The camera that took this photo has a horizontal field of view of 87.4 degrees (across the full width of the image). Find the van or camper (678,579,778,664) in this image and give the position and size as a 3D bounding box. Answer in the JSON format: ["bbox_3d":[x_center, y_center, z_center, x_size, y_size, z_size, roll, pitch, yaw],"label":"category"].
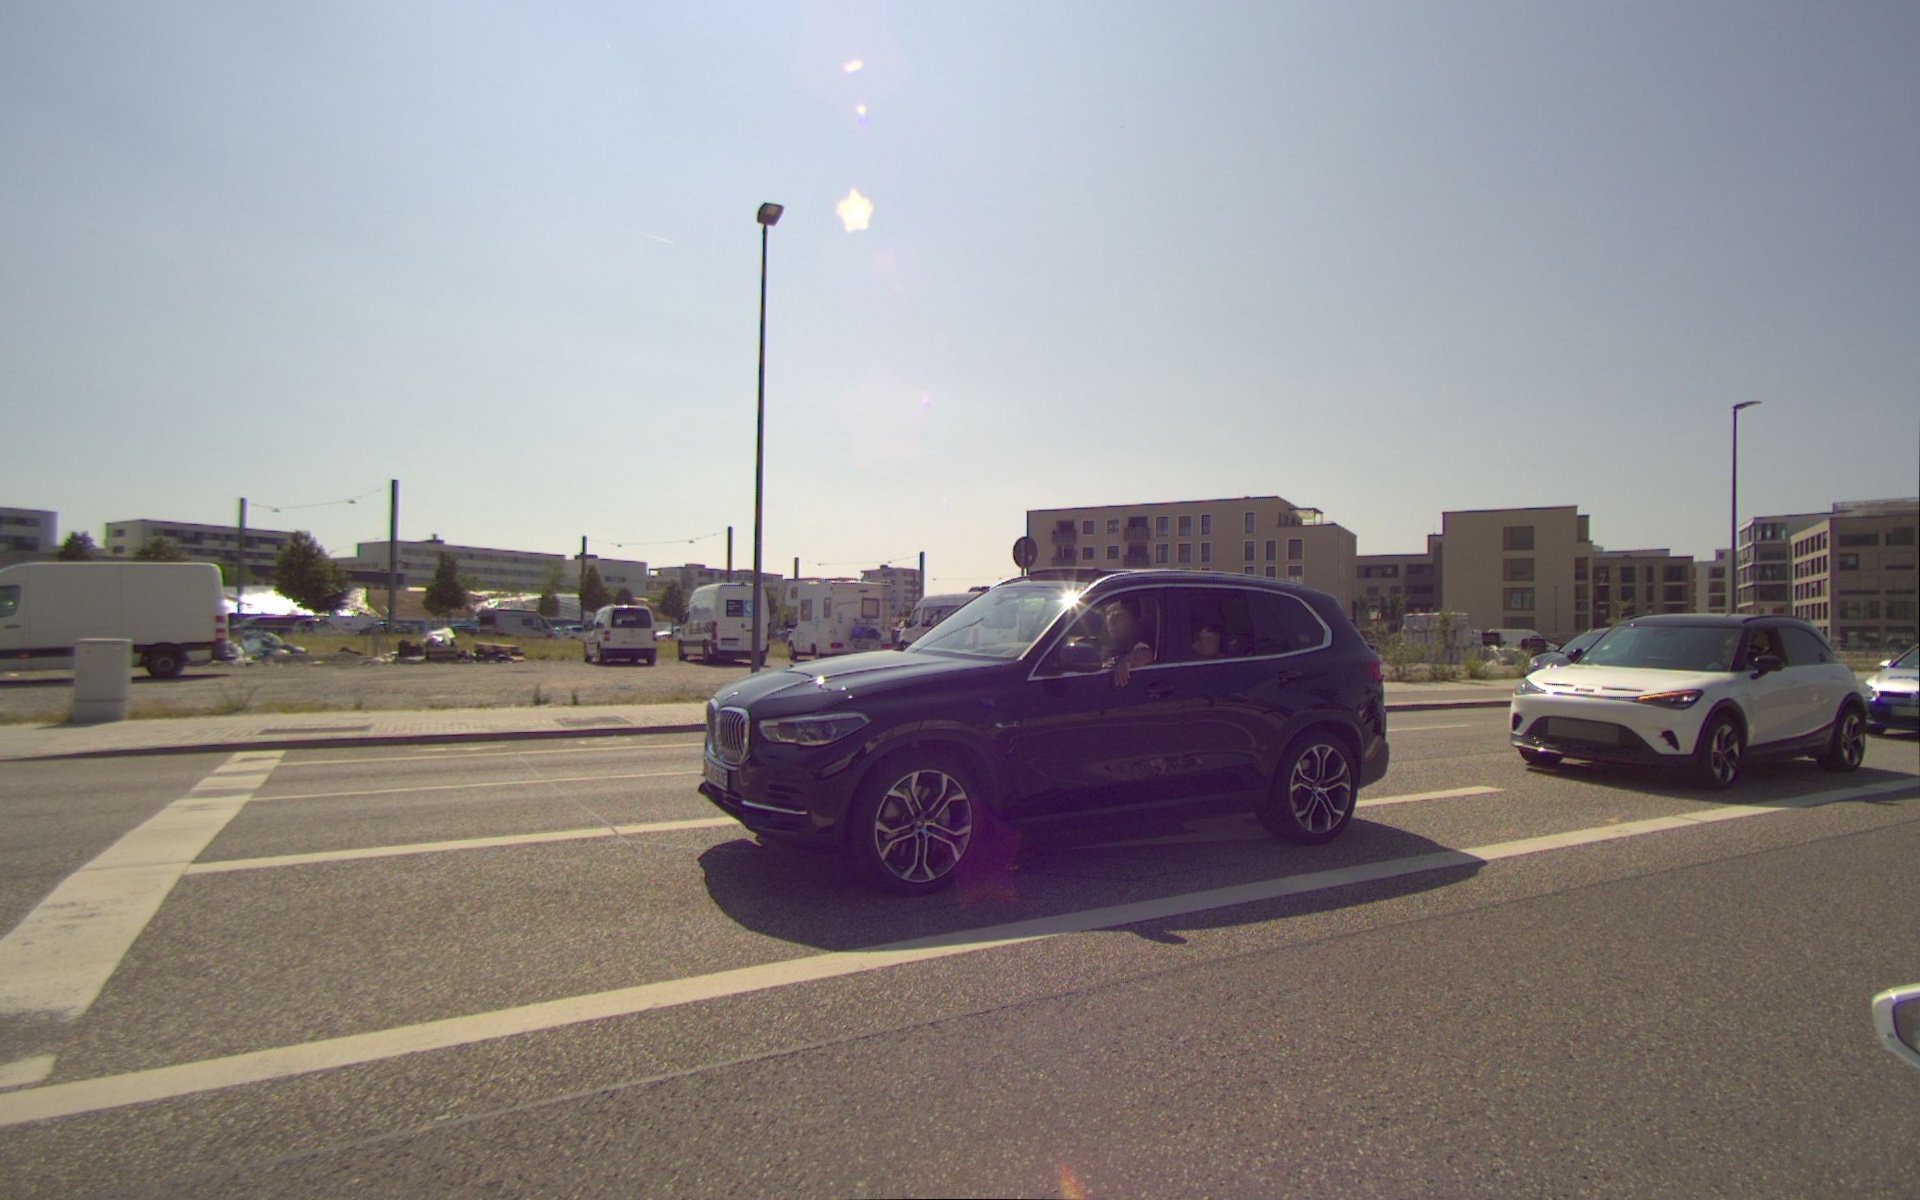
[{"bbox_3d":[-8.036,0.713,34.459,2.230,2.697,4.882,1,-1,-26],"label":"van or camper"}]

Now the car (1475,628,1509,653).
[{"bbox_3d":[42.523,3.173,80.228,1.966,1.873,3.988,1,-1,34],"label":"car"}]

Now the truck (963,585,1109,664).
[{"bbox_3d":[2.860,0.902,40.025,2.571,2.863,6.607,2,-1,-29],"label":"truck"}]

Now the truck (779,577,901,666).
[{"bbox_3d":[-4.543,0.715,36.865,2.536,2.939,6.125,3,-1,-25],"label":"truck"}]

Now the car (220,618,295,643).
[{"bbox_3d":[-50.280,2.184,71.930,1.791,1.709,3.994,2,-1,29],"label":"car"}]

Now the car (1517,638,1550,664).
[{"bbox_3d":[44.925,4.002,78.675,1.966,1.873,3.988,1,-1,34],"label":"car"}]

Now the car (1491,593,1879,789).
[{"bbox_3d":[7.671,0.832,10.562,4.050,1.704,1.770,1,0,-30],"label":"car"}]

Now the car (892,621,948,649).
[{"bbox_3d":[-3.257,2.817,82.219,1.964,1.996,5.387,5,2,29],"label":"car"}]

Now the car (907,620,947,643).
[{"bbox_3d":[-3.028,2.963,93.781,1.964,2.040,3.994,0,-2,29],"label":"car"}]

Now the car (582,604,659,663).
[{"bbox_3d":[-11.050,1.037,32.580,1.638,1.781,3.847,1,-1,-30],"label":"car"}]

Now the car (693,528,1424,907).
[{"bbox_3d":[0.759,0.645,6.768,4.598,1.812,1.931,2,-1,-29],"label":"car"}]

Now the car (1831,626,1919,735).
[{"bbox_3d":[14.732,1.144,14.530,4.227,1.440,1.779,1,-1,-27],"label":"car"}]

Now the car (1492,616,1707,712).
[{"bbox_3d":[12.911,1.247,20.271,3.951,1.728,1.985,2,0,-29],"label":"car"}]

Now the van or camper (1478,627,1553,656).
[{"bbox_3d":[50.729,3.784,91.904,5.815,2.592,1.935,0,-2,23],"label":"van or camper"}]

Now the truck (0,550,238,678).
[{"bbox_3d":[-19.972,0.346,22.592,5.896,2.690,2.149,3,-2,-39],"label":"truck"}]

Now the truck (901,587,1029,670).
[{"bbox_3d":[0.056,1.013,38.489,2.536,2.862,5.816,3,-1,-25],"label":"truck"}]
